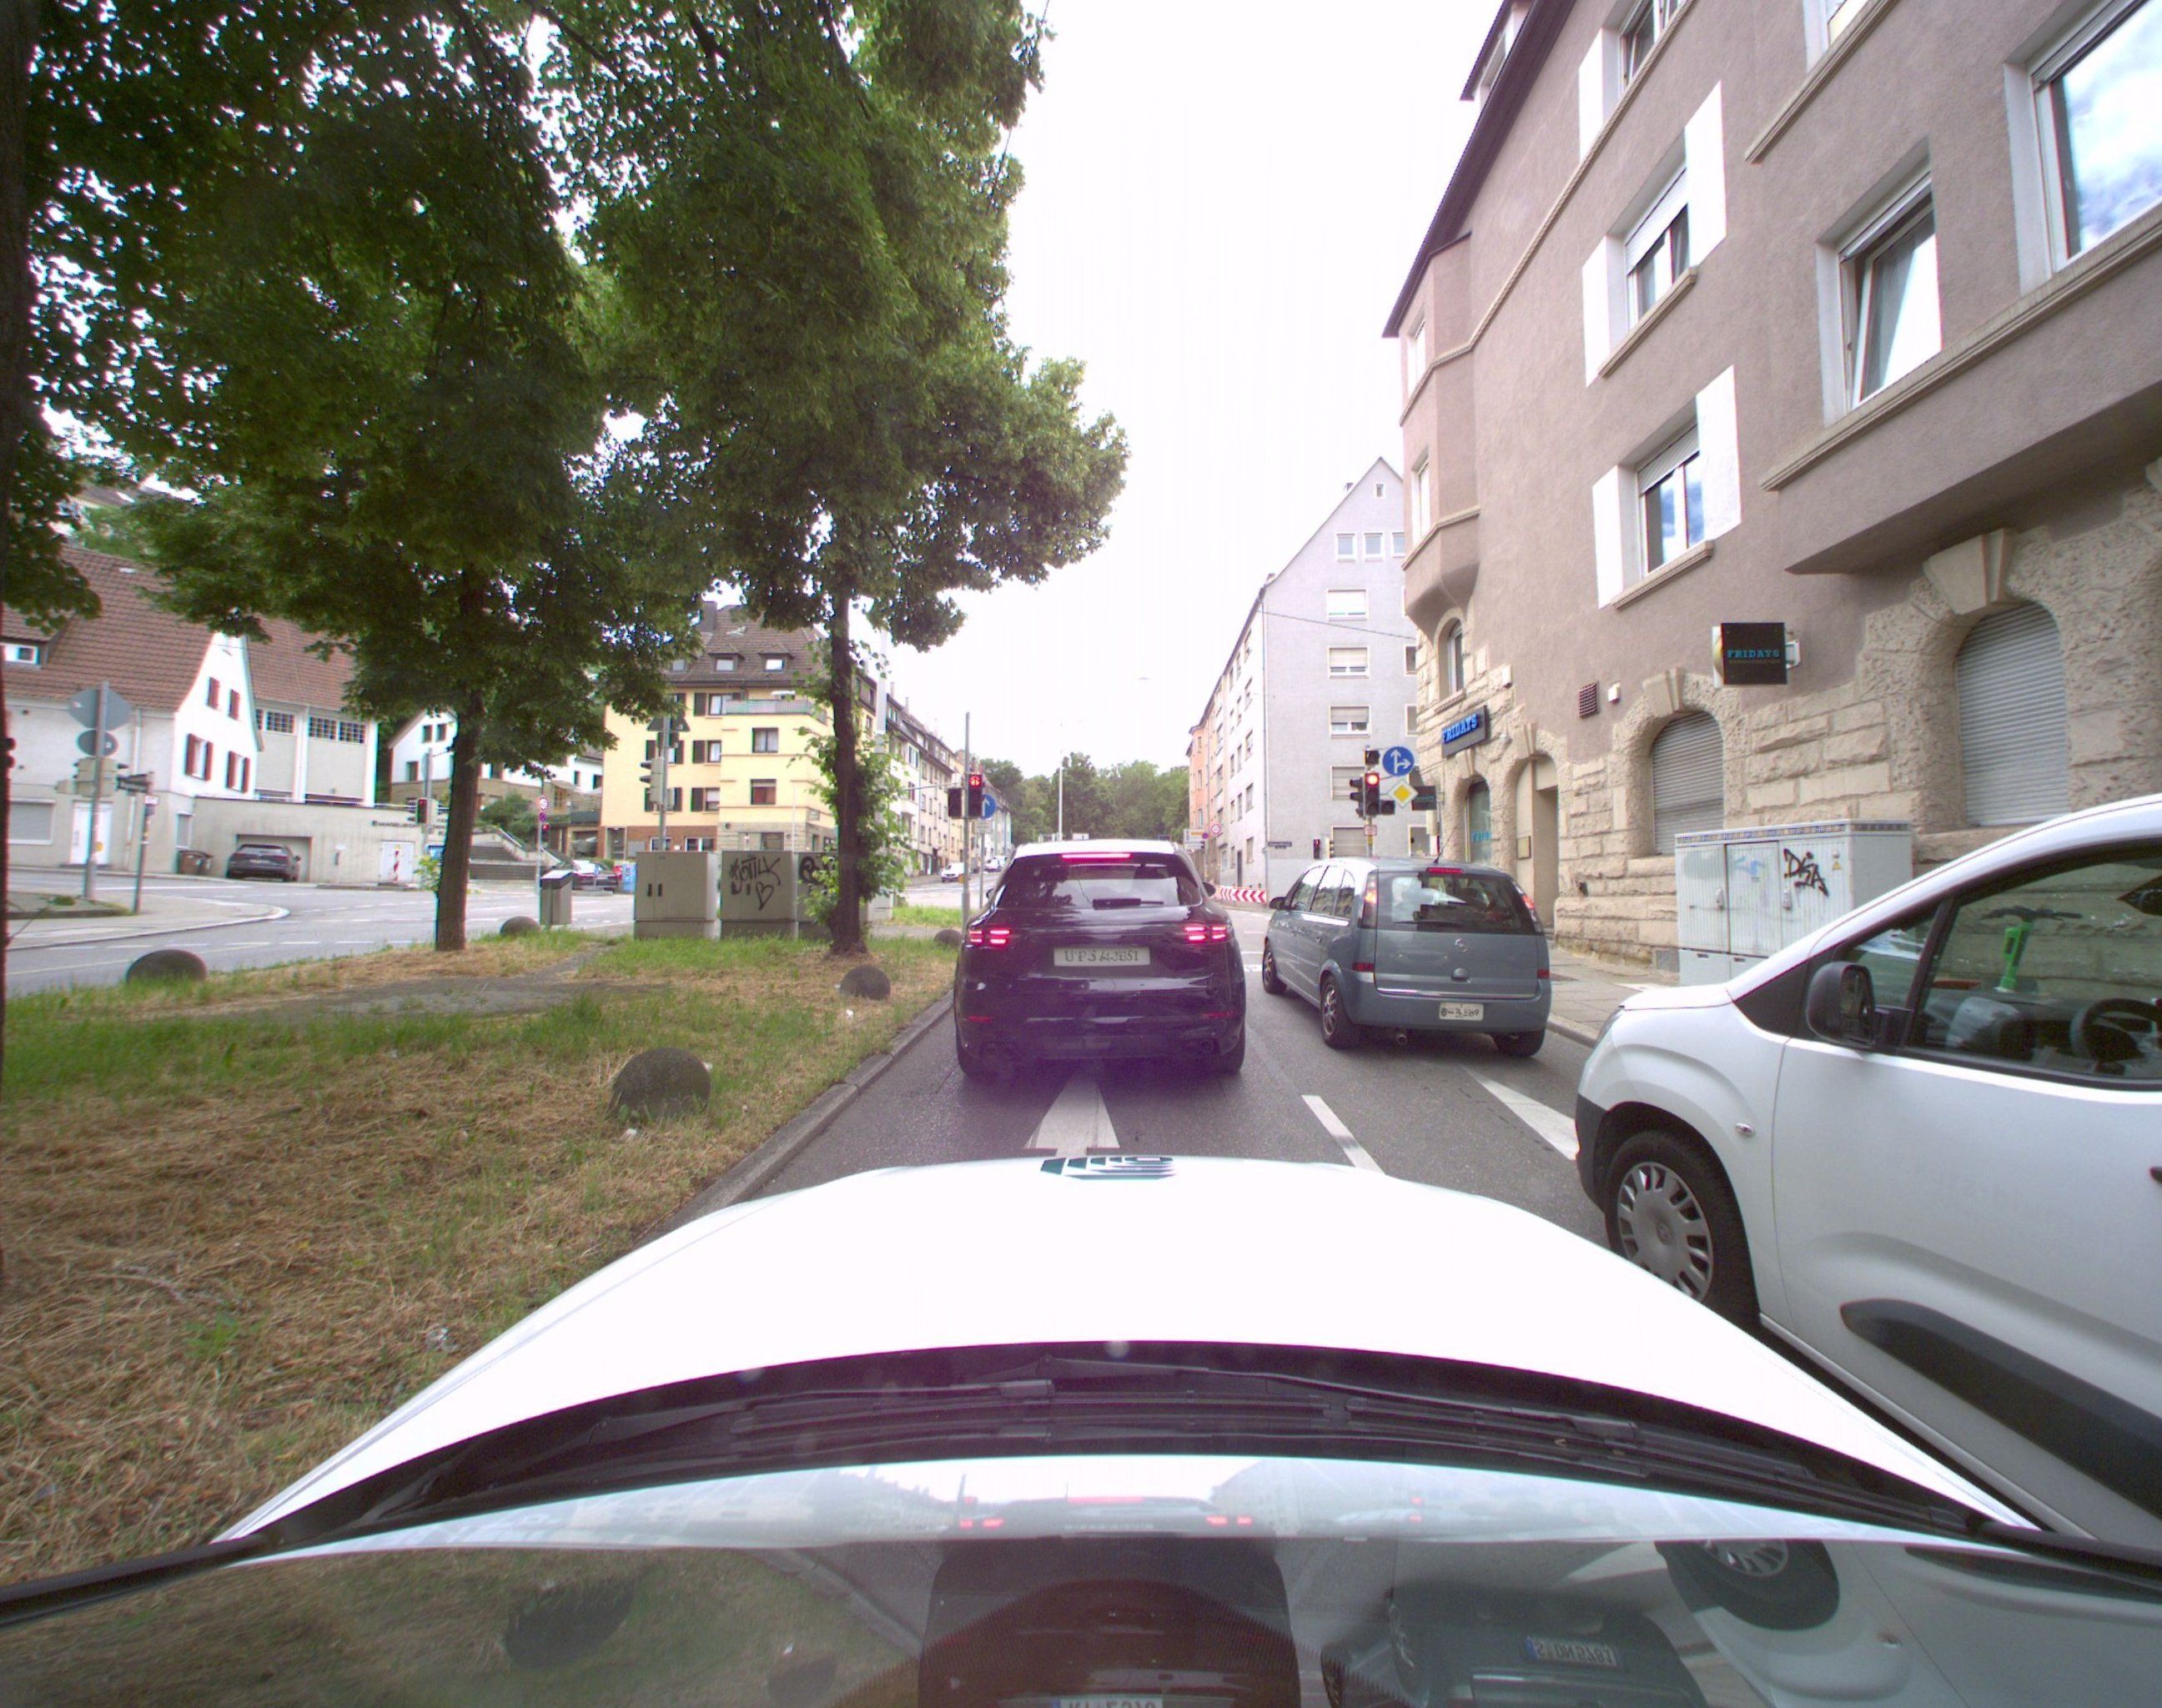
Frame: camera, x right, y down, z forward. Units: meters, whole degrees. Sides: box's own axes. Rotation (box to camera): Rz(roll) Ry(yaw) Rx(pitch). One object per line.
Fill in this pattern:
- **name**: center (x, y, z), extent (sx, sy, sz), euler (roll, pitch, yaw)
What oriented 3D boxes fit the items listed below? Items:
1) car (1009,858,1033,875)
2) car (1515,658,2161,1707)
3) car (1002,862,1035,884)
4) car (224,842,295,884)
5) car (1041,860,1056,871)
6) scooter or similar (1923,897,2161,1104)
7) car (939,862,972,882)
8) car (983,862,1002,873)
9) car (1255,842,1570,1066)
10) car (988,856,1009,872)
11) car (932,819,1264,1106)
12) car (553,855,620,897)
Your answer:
- **car**: center (-6.136, 1.281, 84.287), extent (1.966, 1.610, 4.560), euler (0, 0, 2)
- **car**: center (2.820, 0.593, 1.081), extent (1.969, 1.775, 4.676), euler (3, 0, 0)
- **car**: center (-4.283, 1.292, 56.353), extent (1.854, 1.388, 4.096), euler (0, 0, 2)
- **car**: center (-32.144, 0.356, 31.851), extent (3.019, 1.405, 1.681), euler (2, -4, 42)
- **car**: center (-4.577, 1.601, 115.901), extent (1.611, 1.480, 3.828), euler (-1, -2, 5)
- **scooter or similar**: center (6.444, 0.868, 5.291), extent (0.524, 1.104, 1.424), euler (-1, -1, 4)
- **car**: center (-9.926, 1.386, 64.566), extent (1.836, 1.486, 3.901), euler (0, -1, 3)
- **car**: center (-10.826, 1.648, 99.312), extent (1.732, 1.387, 3.815), euler (0, 0, 2)
- **car**: center (2.868, 0.757, 7.921), extent (1.622, 1.598, 3.670), euler (3, 0, 2)
- **car**: center (-10.604, 1.311, 104.965), extent (2.008, 2.045, 4.669), euler (0, -1, 2)
- **car**: center (0.162, 0.661, 6.853), extent (1.948, 1.674, 4.001), euler (-1, -1, 2)
- **car**: center (-23.591, 1.009, 38.837), extent (3.477, 1.596, 1.881), euler (7, 4, 44)
